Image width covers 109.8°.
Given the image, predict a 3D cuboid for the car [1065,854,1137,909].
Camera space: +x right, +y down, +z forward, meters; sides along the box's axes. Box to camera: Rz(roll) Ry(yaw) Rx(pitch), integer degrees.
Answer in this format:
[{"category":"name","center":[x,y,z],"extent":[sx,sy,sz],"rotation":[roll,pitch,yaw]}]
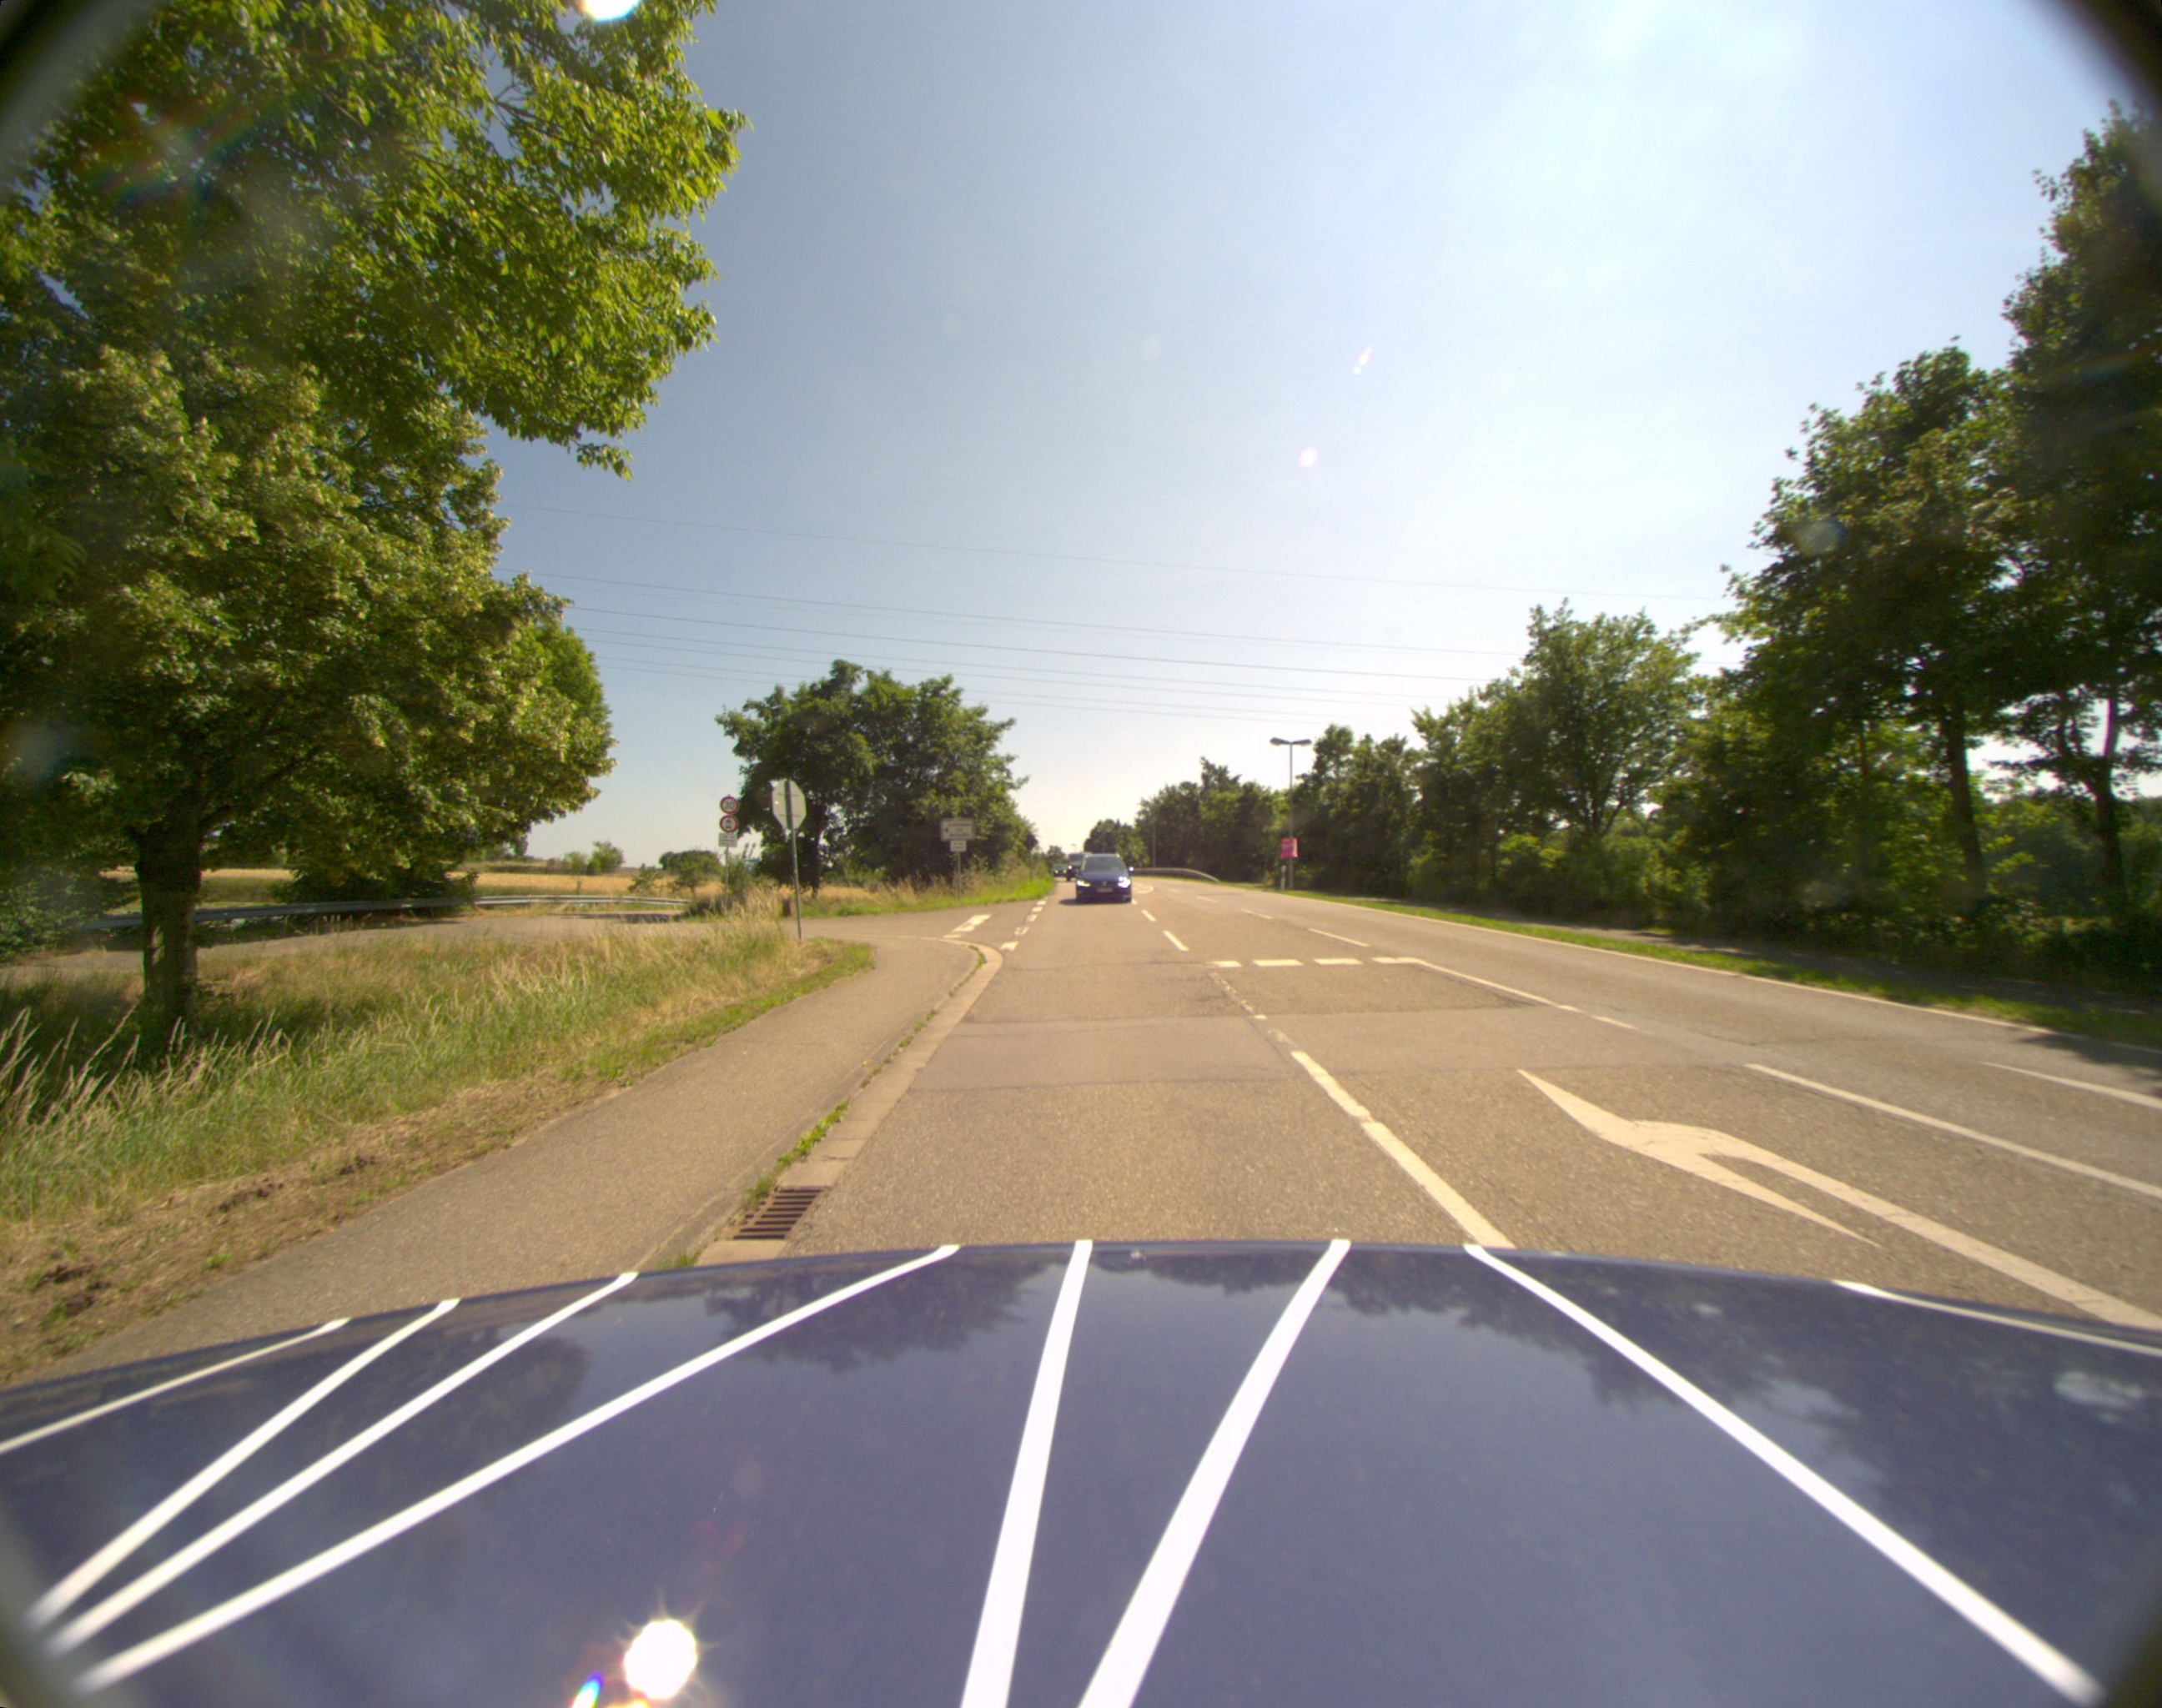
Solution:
[{"category":"car","center":[0.558,0.806,24.712],"extent":[1.765,1.520,4.419],"rotation":[-2,1,-6]}]

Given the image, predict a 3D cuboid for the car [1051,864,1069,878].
[{"category":"car","center":[-2.582,1.993,91.842],"extent":[1.766,1.530,3.682],"rotation":[-2,0,-7]}]

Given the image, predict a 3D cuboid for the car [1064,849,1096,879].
[{"category":"car","center":[-0.120,0.712,51.707],"extent":[1.765,1.953,4.261],"rotation":[-2,-1,-5]}]
